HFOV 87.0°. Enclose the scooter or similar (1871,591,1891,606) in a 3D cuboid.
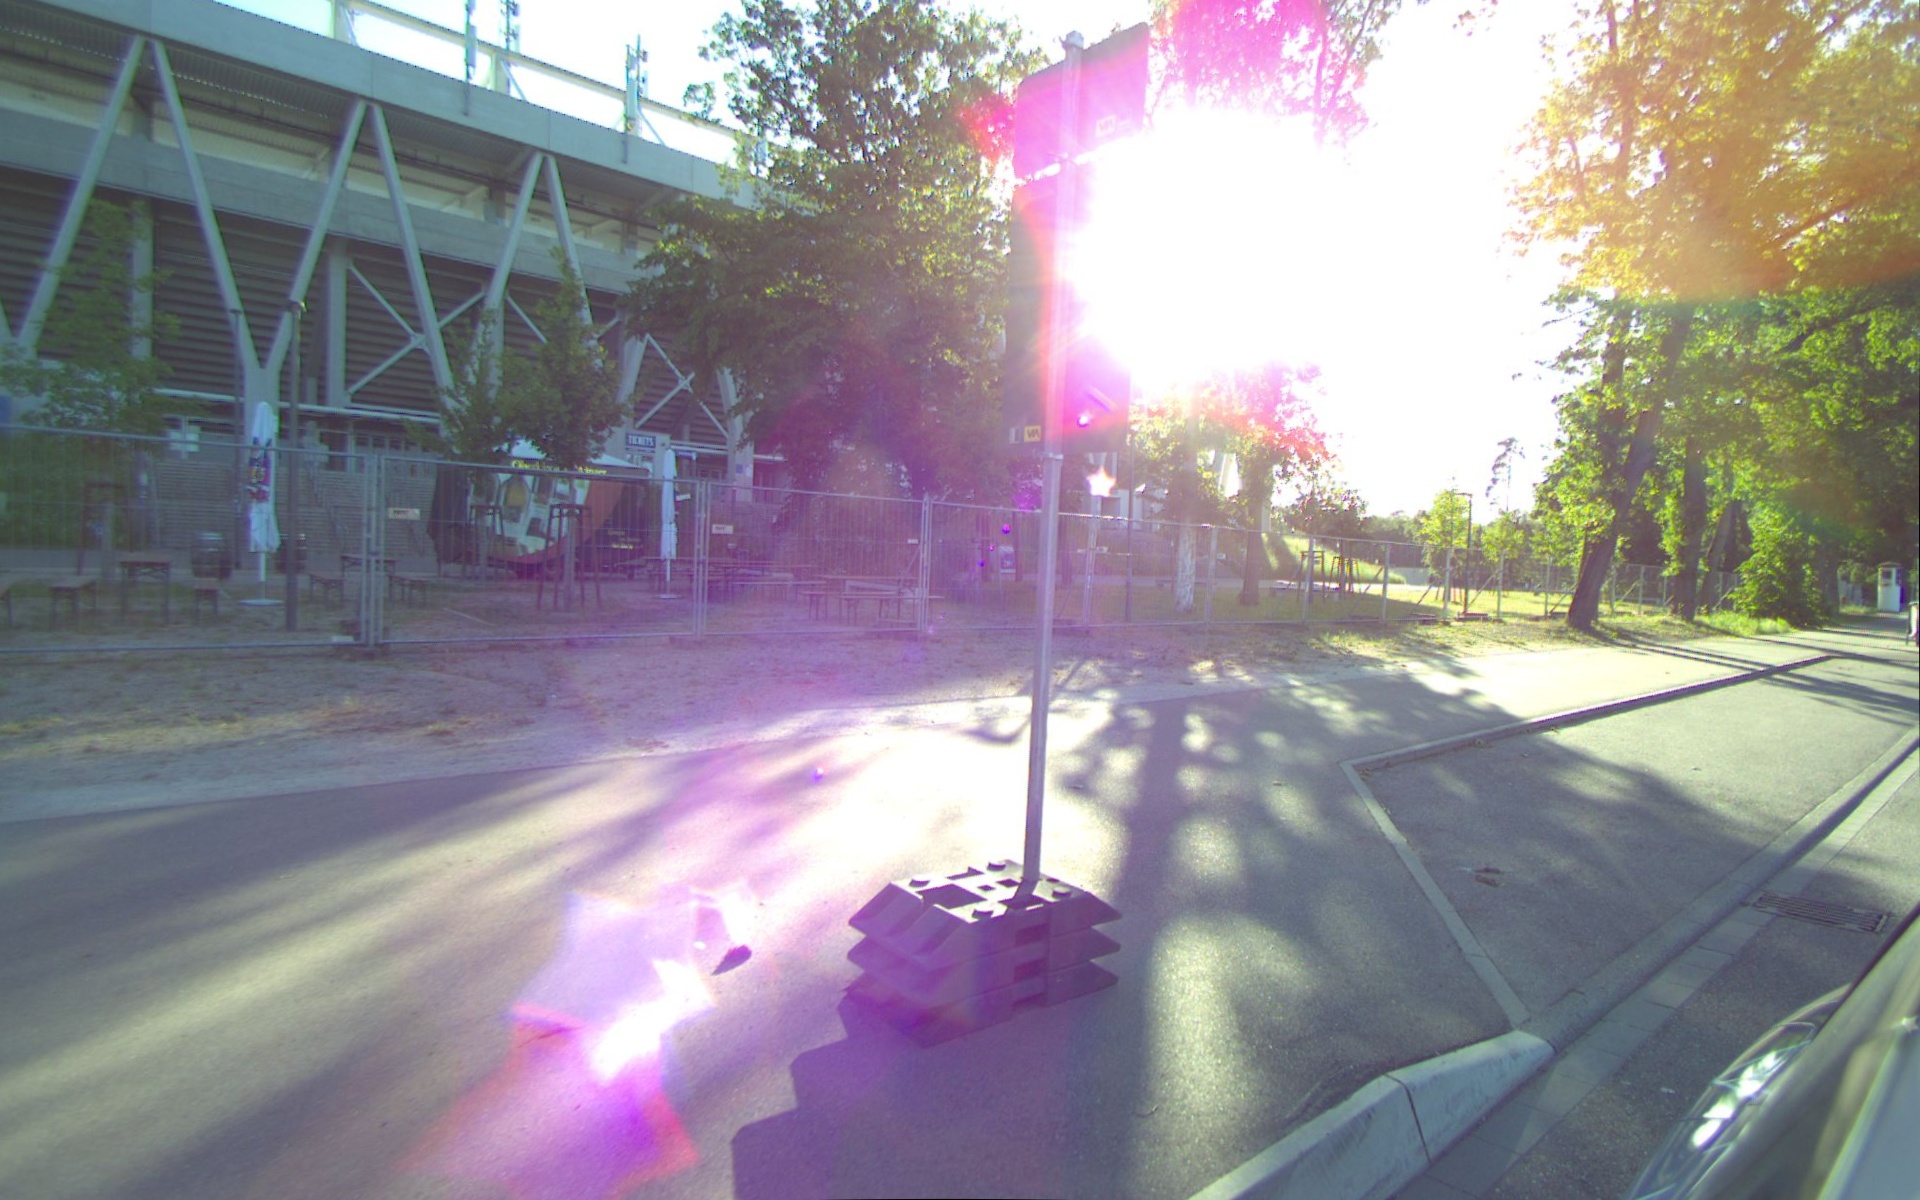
[{"bbox_3d":[80.811,-0.134,88.782,1.281,1.252,0.334,2,1,12],"label":"scooter or similar"}]
